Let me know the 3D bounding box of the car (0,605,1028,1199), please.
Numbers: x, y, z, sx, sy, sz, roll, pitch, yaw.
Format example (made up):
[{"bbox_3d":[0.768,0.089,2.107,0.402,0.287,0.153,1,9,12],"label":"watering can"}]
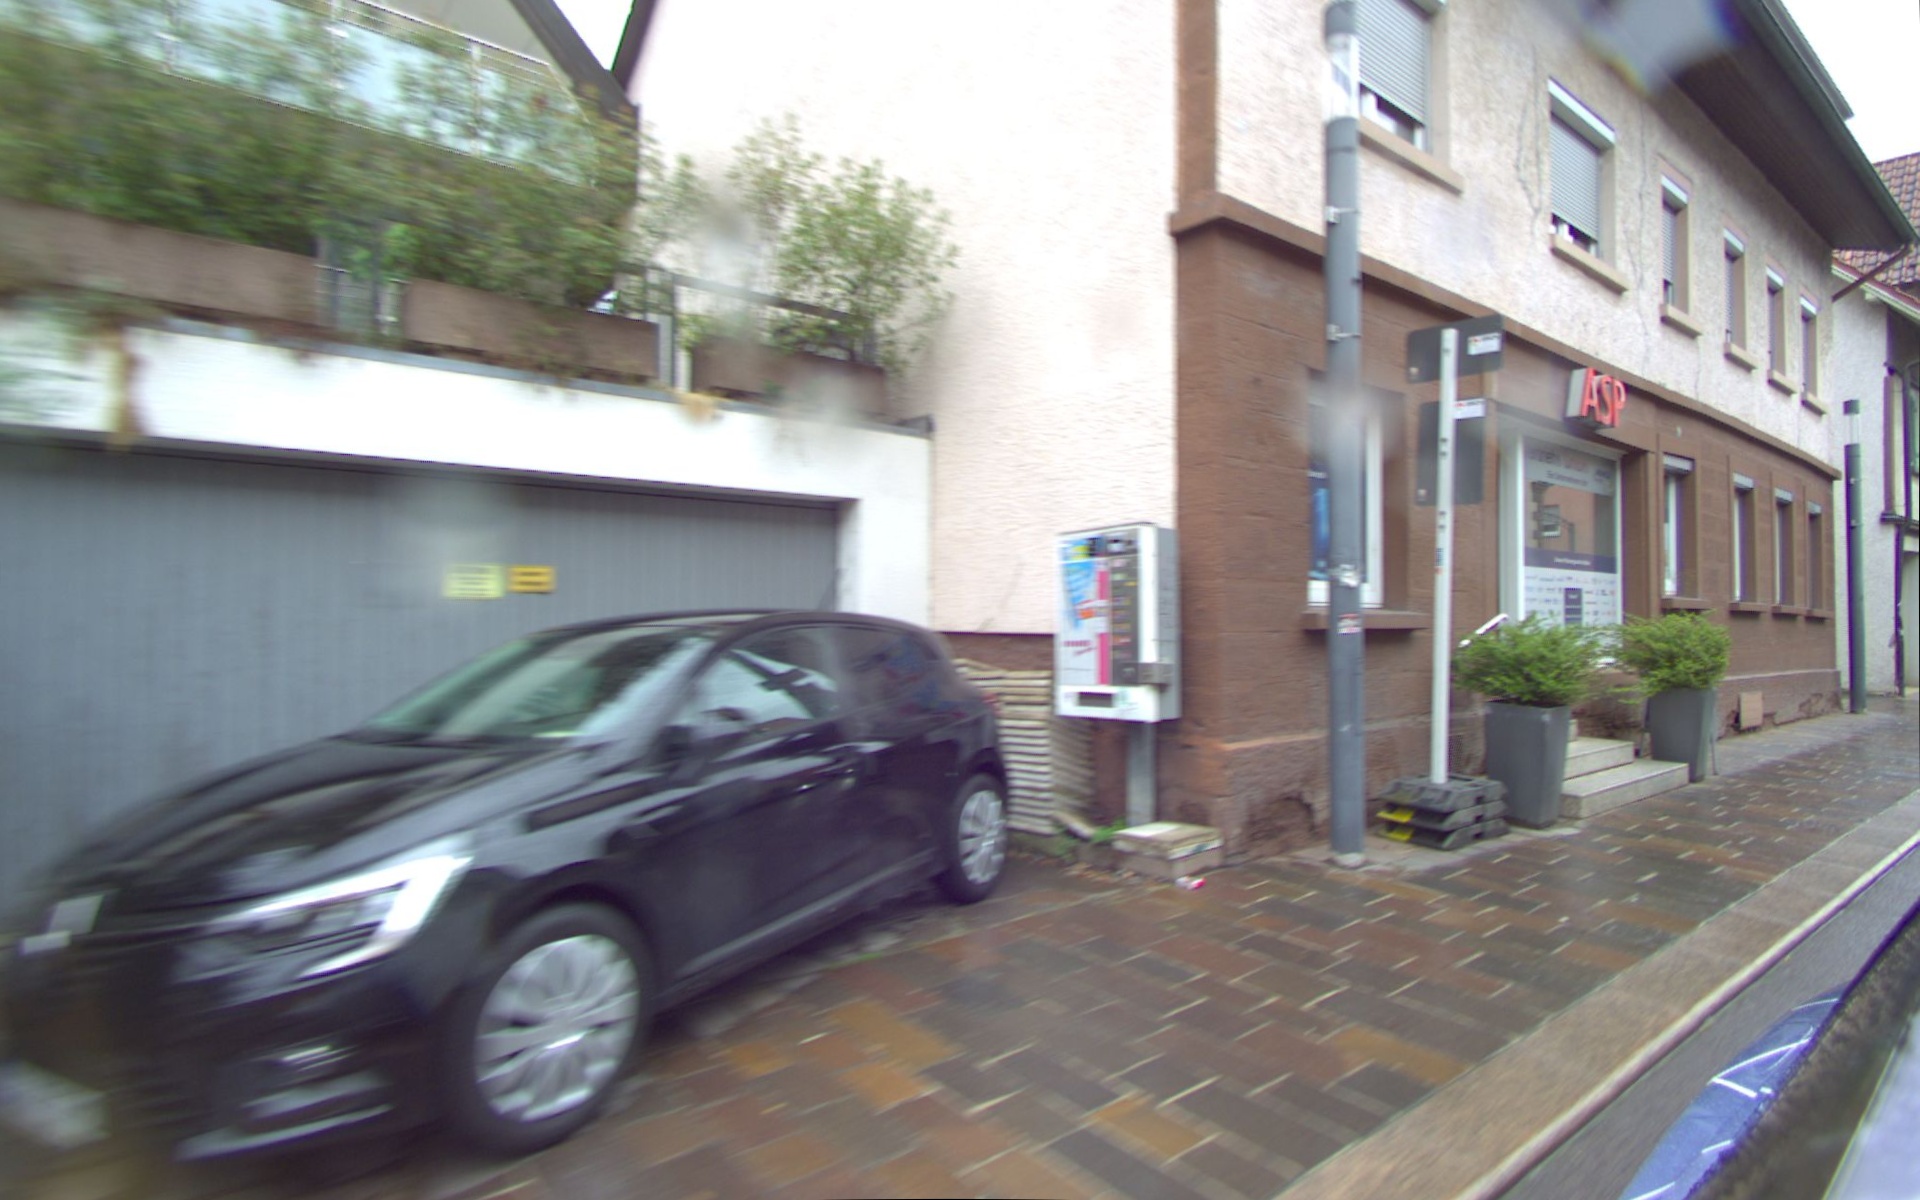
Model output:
[{"bbox_3d":[-1.279,0.717,4.069,1.722,1.374,3.899,0,0,27],"label":"car"}]
